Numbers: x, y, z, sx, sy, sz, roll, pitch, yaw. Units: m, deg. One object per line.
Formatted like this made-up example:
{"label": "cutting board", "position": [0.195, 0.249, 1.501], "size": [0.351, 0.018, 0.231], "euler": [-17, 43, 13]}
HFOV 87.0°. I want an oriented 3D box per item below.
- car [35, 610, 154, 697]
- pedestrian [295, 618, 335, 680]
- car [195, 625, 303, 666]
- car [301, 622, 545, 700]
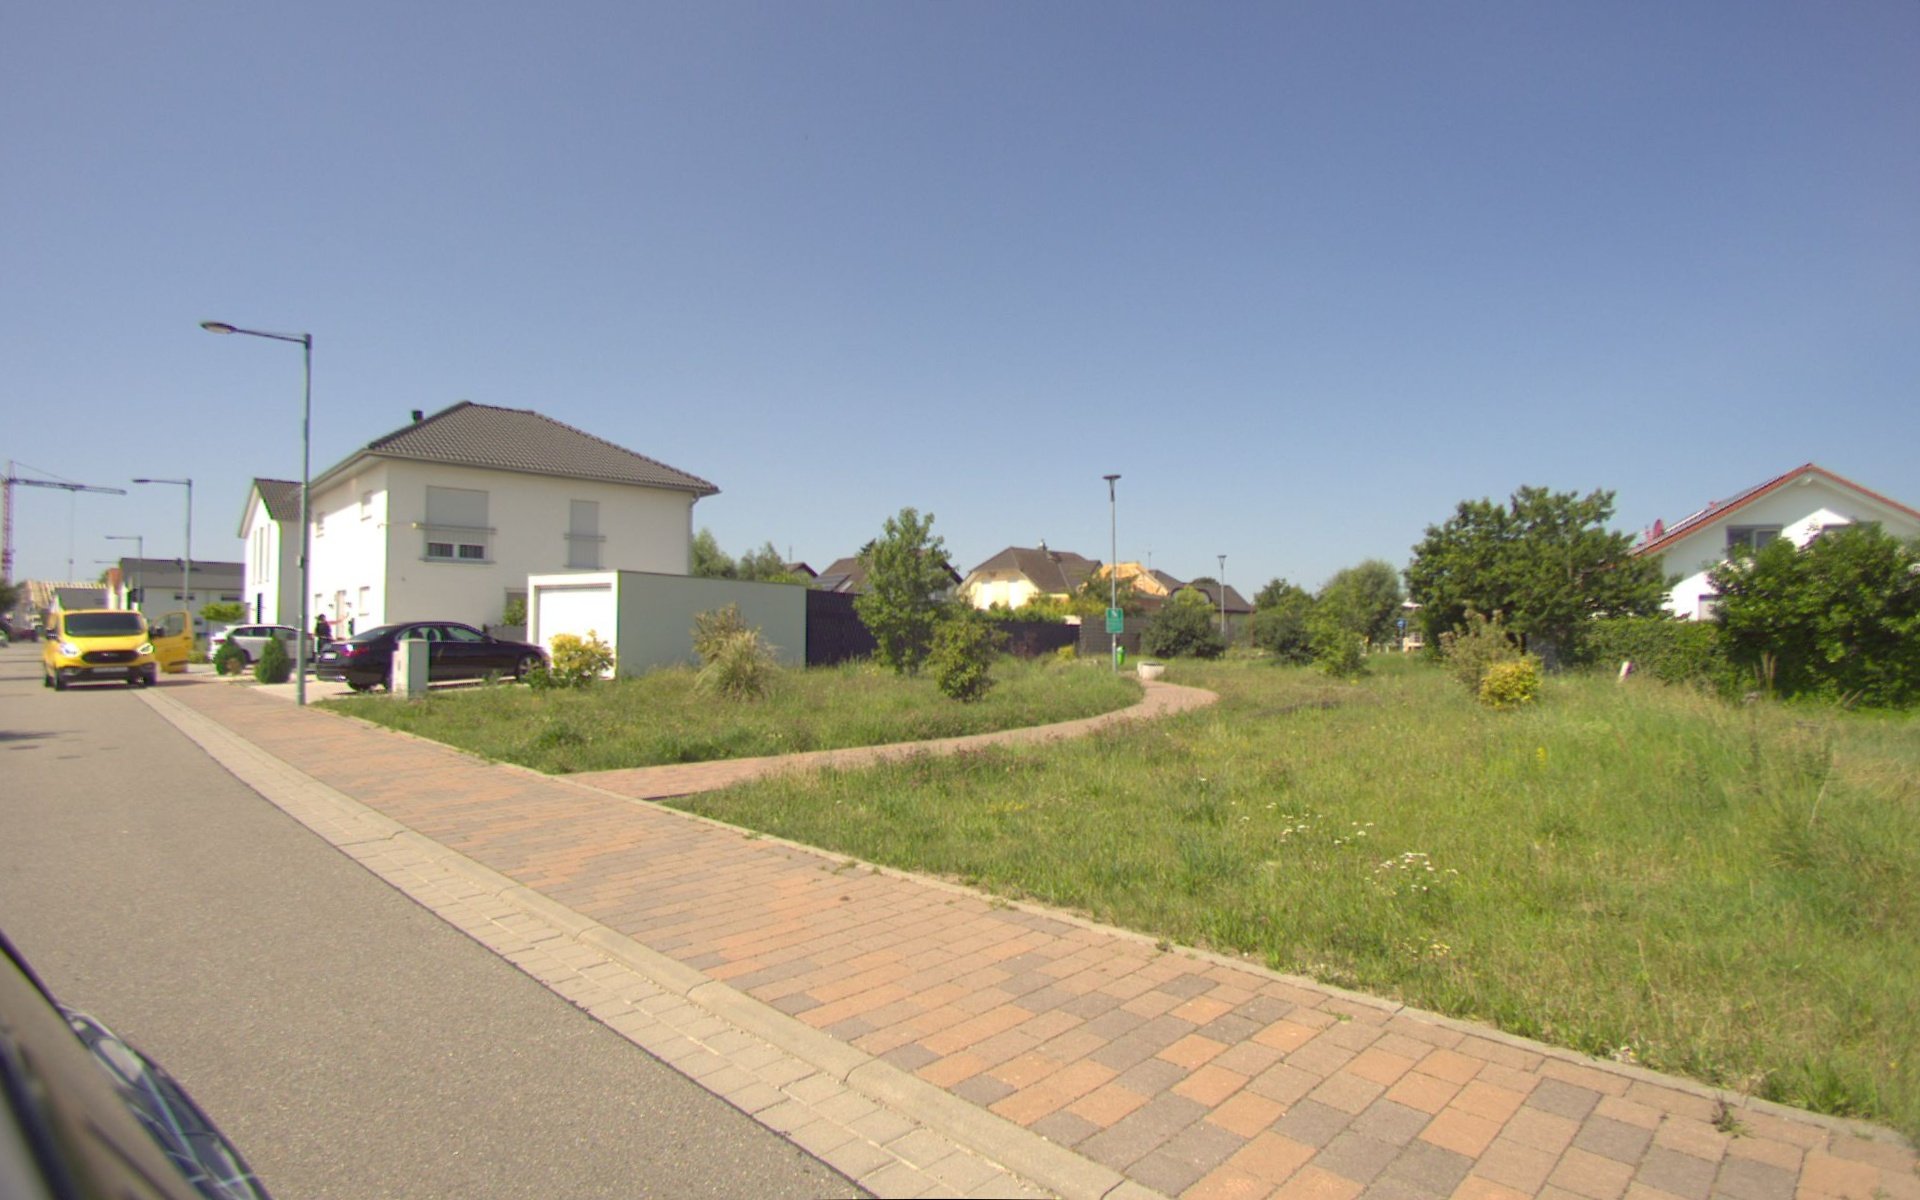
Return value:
{"label": "car", "position": [-22.301, 1.309, 26.004], "size": [4.842, 2.029, 1.863], "euler": [-2, -2, 44]}
{"label": "pedestrian", "position": [-18.381, 1.385, 28.846], "size": [0.917, 1.698, 0.538], "euler": [-1, -1, -33]}
{"label": "car", "position": [-33.413, 2.107, 47.607], "size": [3.938, 1.866, 2.003], "euler": [2, -3, -42]}
{"label": "car", "position": [-11.414, 1.245, 21.815], "size": [1.745, 1.463, 4.355], "euler": [-2, -1, 34]}
